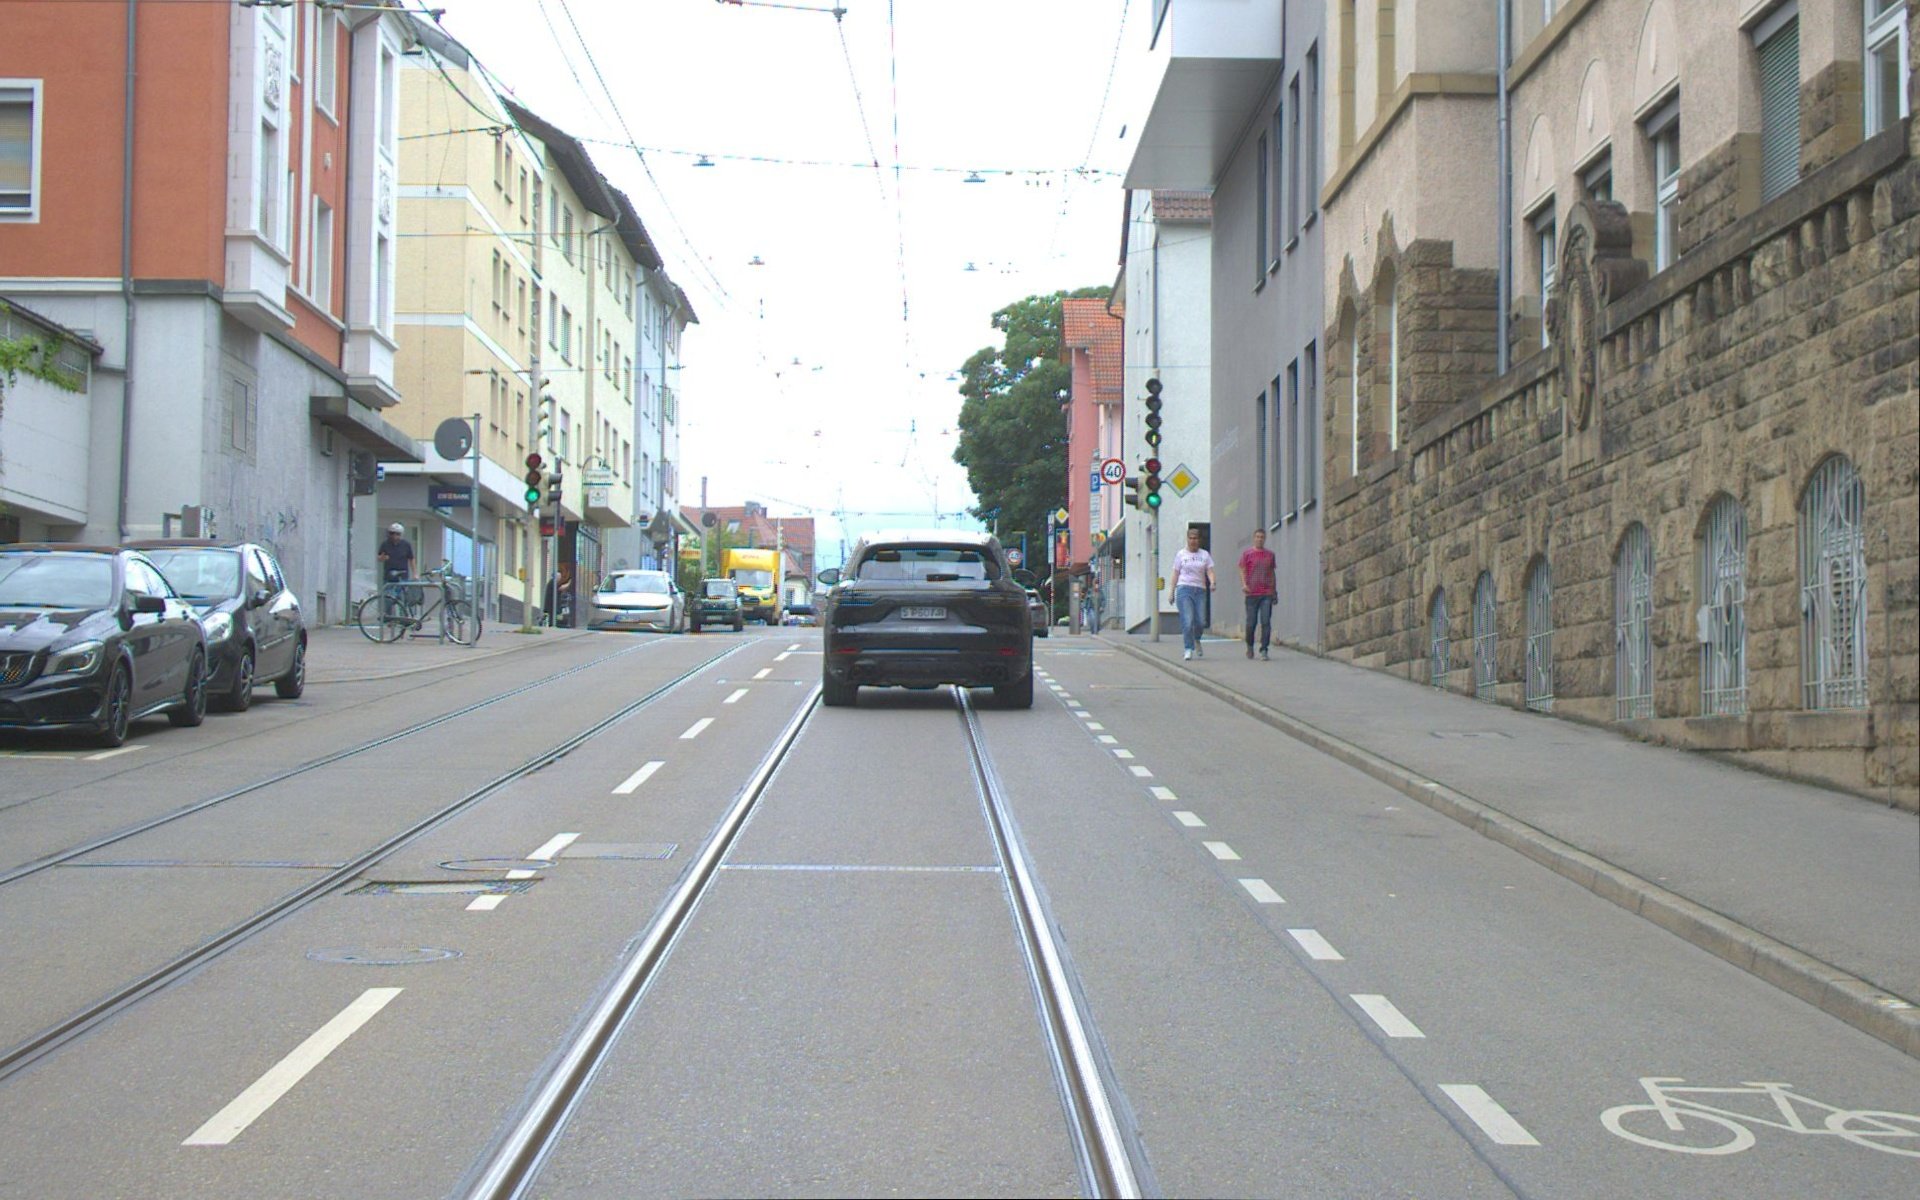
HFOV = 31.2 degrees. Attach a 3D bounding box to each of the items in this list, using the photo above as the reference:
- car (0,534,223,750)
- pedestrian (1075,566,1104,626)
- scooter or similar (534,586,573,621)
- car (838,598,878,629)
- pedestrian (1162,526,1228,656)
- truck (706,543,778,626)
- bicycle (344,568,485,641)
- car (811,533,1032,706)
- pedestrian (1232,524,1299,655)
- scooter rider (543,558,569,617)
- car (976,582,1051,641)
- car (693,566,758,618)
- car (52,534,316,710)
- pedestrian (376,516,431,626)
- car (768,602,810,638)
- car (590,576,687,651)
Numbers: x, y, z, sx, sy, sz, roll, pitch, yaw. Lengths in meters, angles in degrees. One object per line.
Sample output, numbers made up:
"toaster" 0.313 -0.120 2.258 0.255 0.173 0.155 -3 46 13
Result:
"car" -6.715 0.242 25.192 1.712 1.441 4.290 1 1 0
"pedestrian" 3.606 -0.117 95.827 0.791 1.661 0.798 1 1 2
"scooter or similar" -11.035 0.100 93.365 1.027 0.915 0.473 1 1 -5
"car" -5.507 0.699 186.062 1.993 1.558 4.290 1 1 0
"pedestrian" 3.036 -0.125 44.482 0.791 1.661 0.798 1 1 2
"truck" -8.257 -0.619 131.068 2.302 3.026 9.034 1 0 -1
"bicycle" -7.707 0.061 48.628 1.911 0.996 0.479 1 1 0
"car" -0.364 0.143 33.548 1.993 1.558 4.290 1 1 0
"pedestrian" 3.944 -0.143 44.475 0.791 1.661 0.798 1 1 2
"scooter rider" -10.980 -0.352 93.407 0.648 1.580 0.766 1 1 -5
"car" 1.477 0.306 96.400 1.993 1.558 4.290 1 1 0
"car" -7.552 -0.274 110.939 1.855 1.601 4.297 1 1 -1
"car" -6.837 0.155 30.590 1.515 1.441 3.710 1 1 0
"pedestrian" -9.070 -0.473 56.067 0.775 1.770 0.650 1 1 0
"car" -8.224 0.946 165.922 1.855 1.601 4.297 1 1 -1
"car" -7.277 0.278 78.235 1.855 1.601 4.297 1 1 -1
